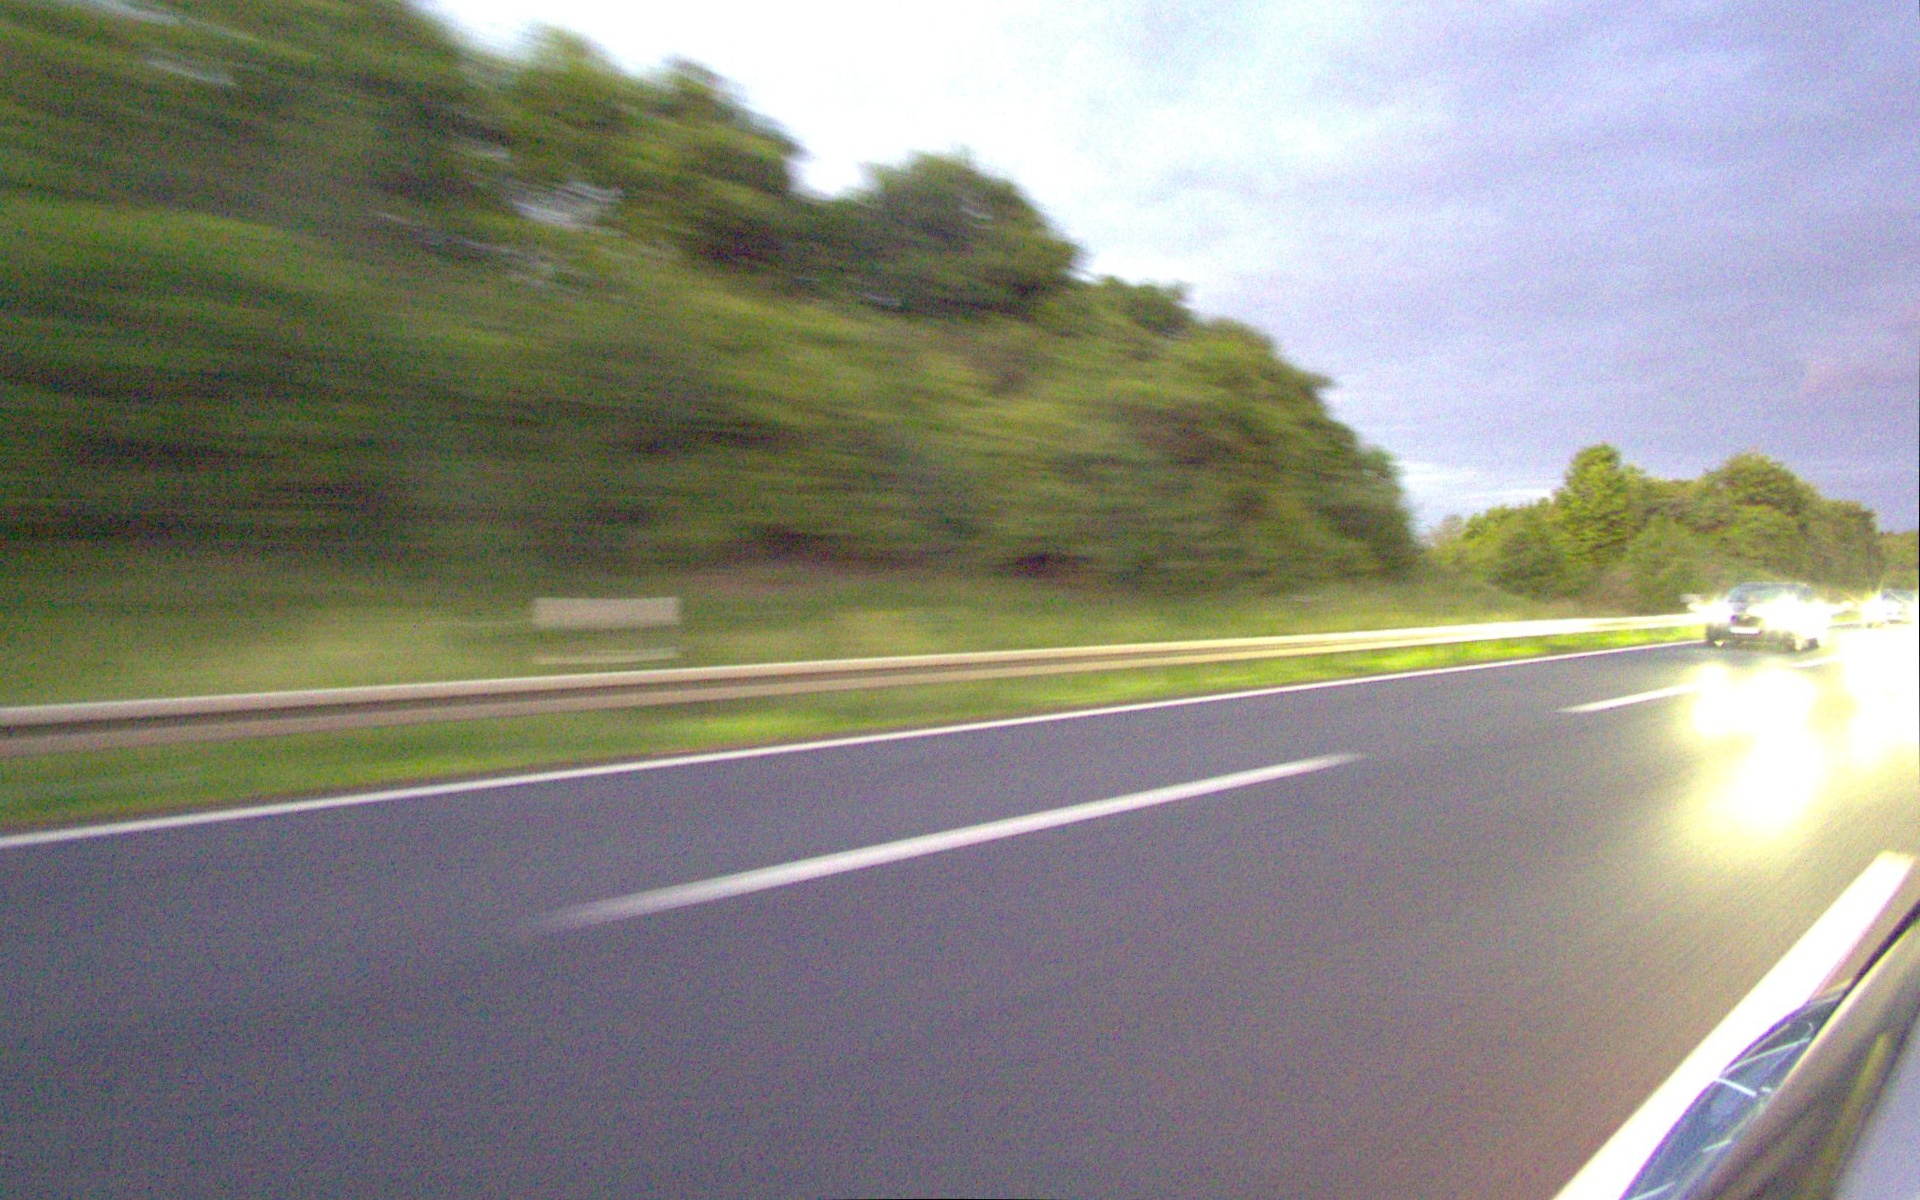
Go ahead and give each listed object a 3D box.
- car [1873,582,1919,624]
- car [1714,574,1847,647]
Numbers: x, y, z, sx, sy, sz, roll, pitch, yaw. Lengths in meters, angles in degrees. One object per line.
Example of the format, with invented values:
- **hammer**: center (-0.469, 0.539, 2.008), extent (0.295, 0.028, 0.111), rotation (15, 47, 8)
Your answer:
- **car**: center (36.151, 0.062, 38.443), extent (5.032, 1.510, 1.800), rotation (-1, 1, -43)
- **car**: center (21.128, 0.196, 25.972), extent (5.071, 1.665, 1.801), rotation (-1, 3, -42)
